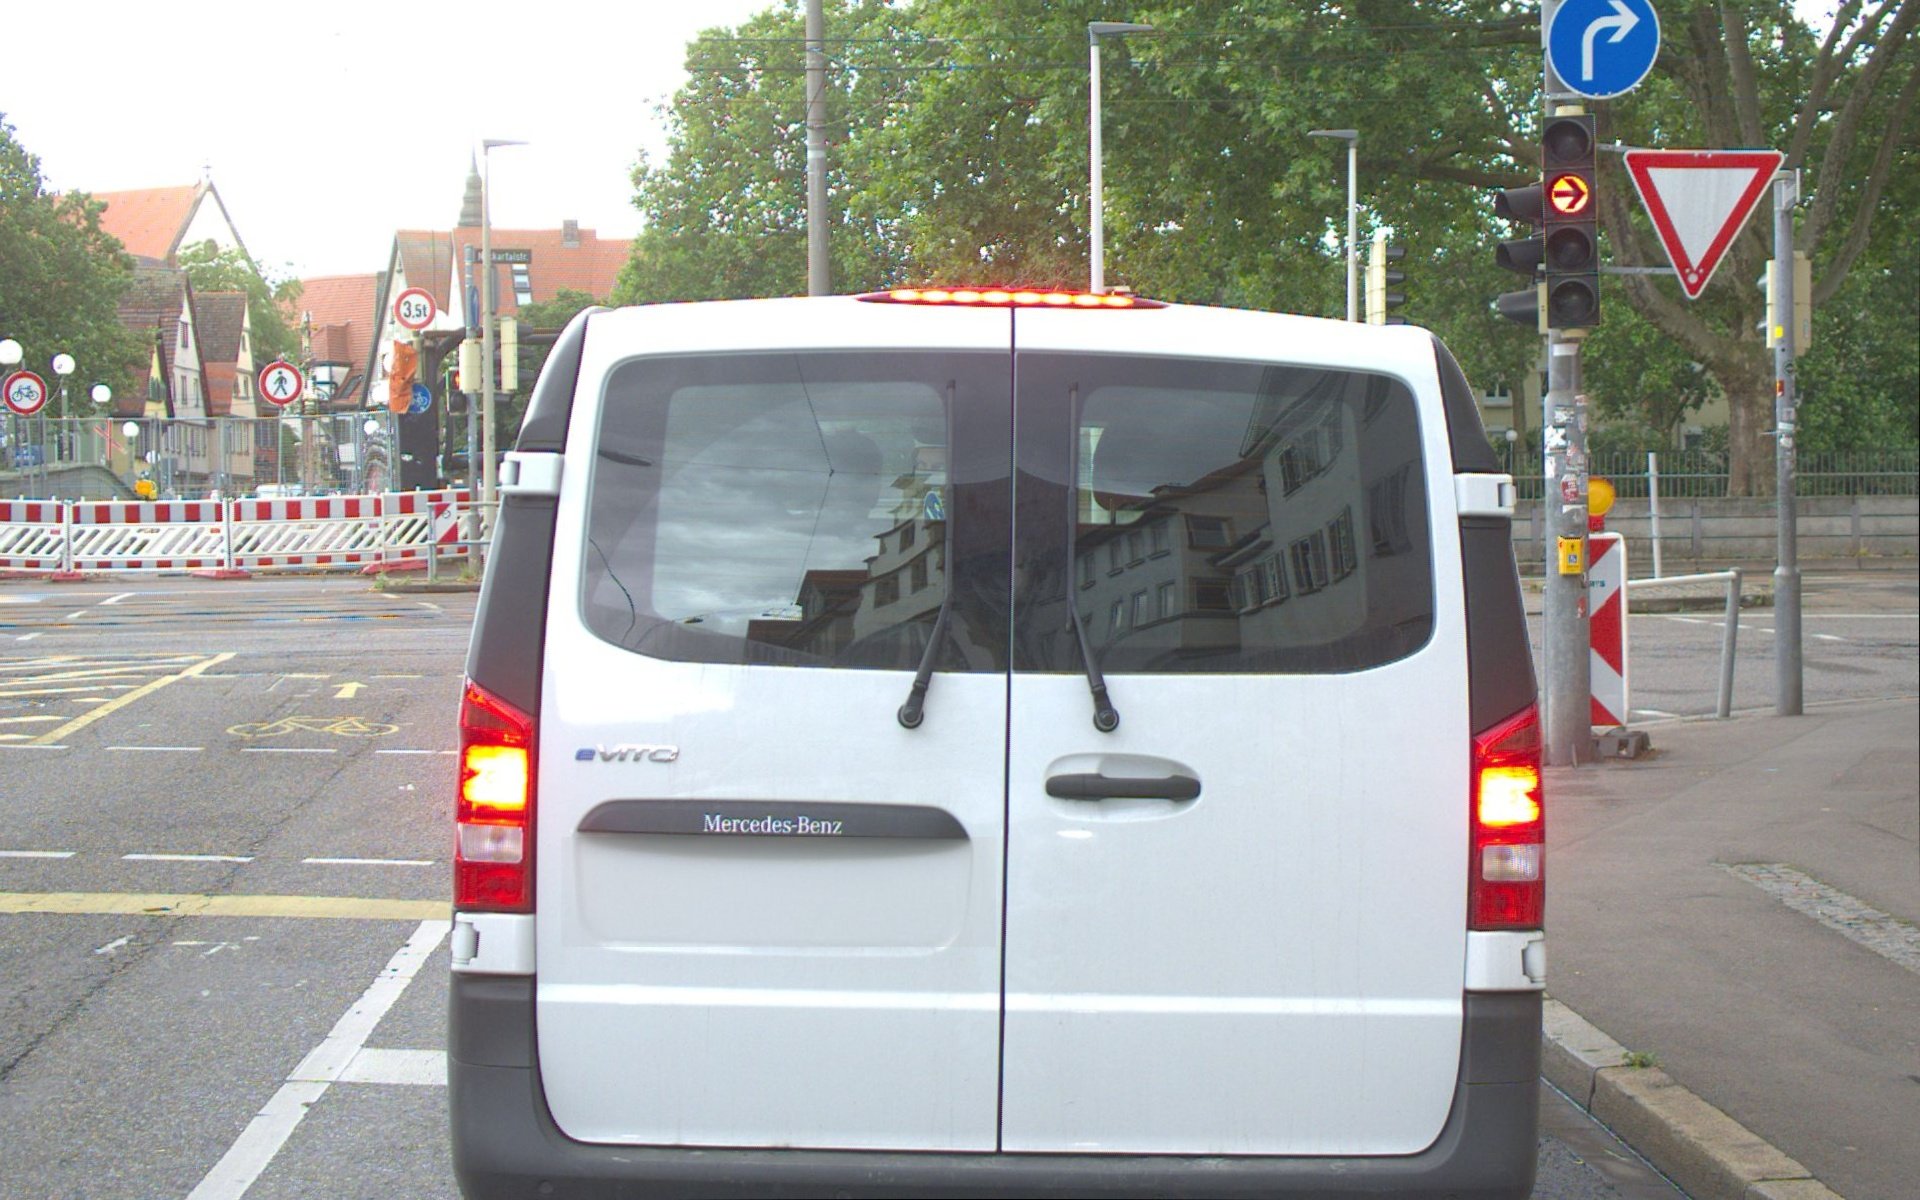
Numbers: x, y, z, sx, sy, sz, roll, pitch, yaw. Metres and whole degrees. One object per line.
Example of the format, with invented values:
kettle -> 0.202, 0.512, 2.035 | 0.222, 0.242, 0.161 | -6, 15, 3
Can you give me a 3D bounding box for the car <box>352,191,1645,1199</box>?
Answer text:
car -> 0.026, 0.297, 7.599 | 1.951, 2.006, 4.699 | 1, 2, -1
